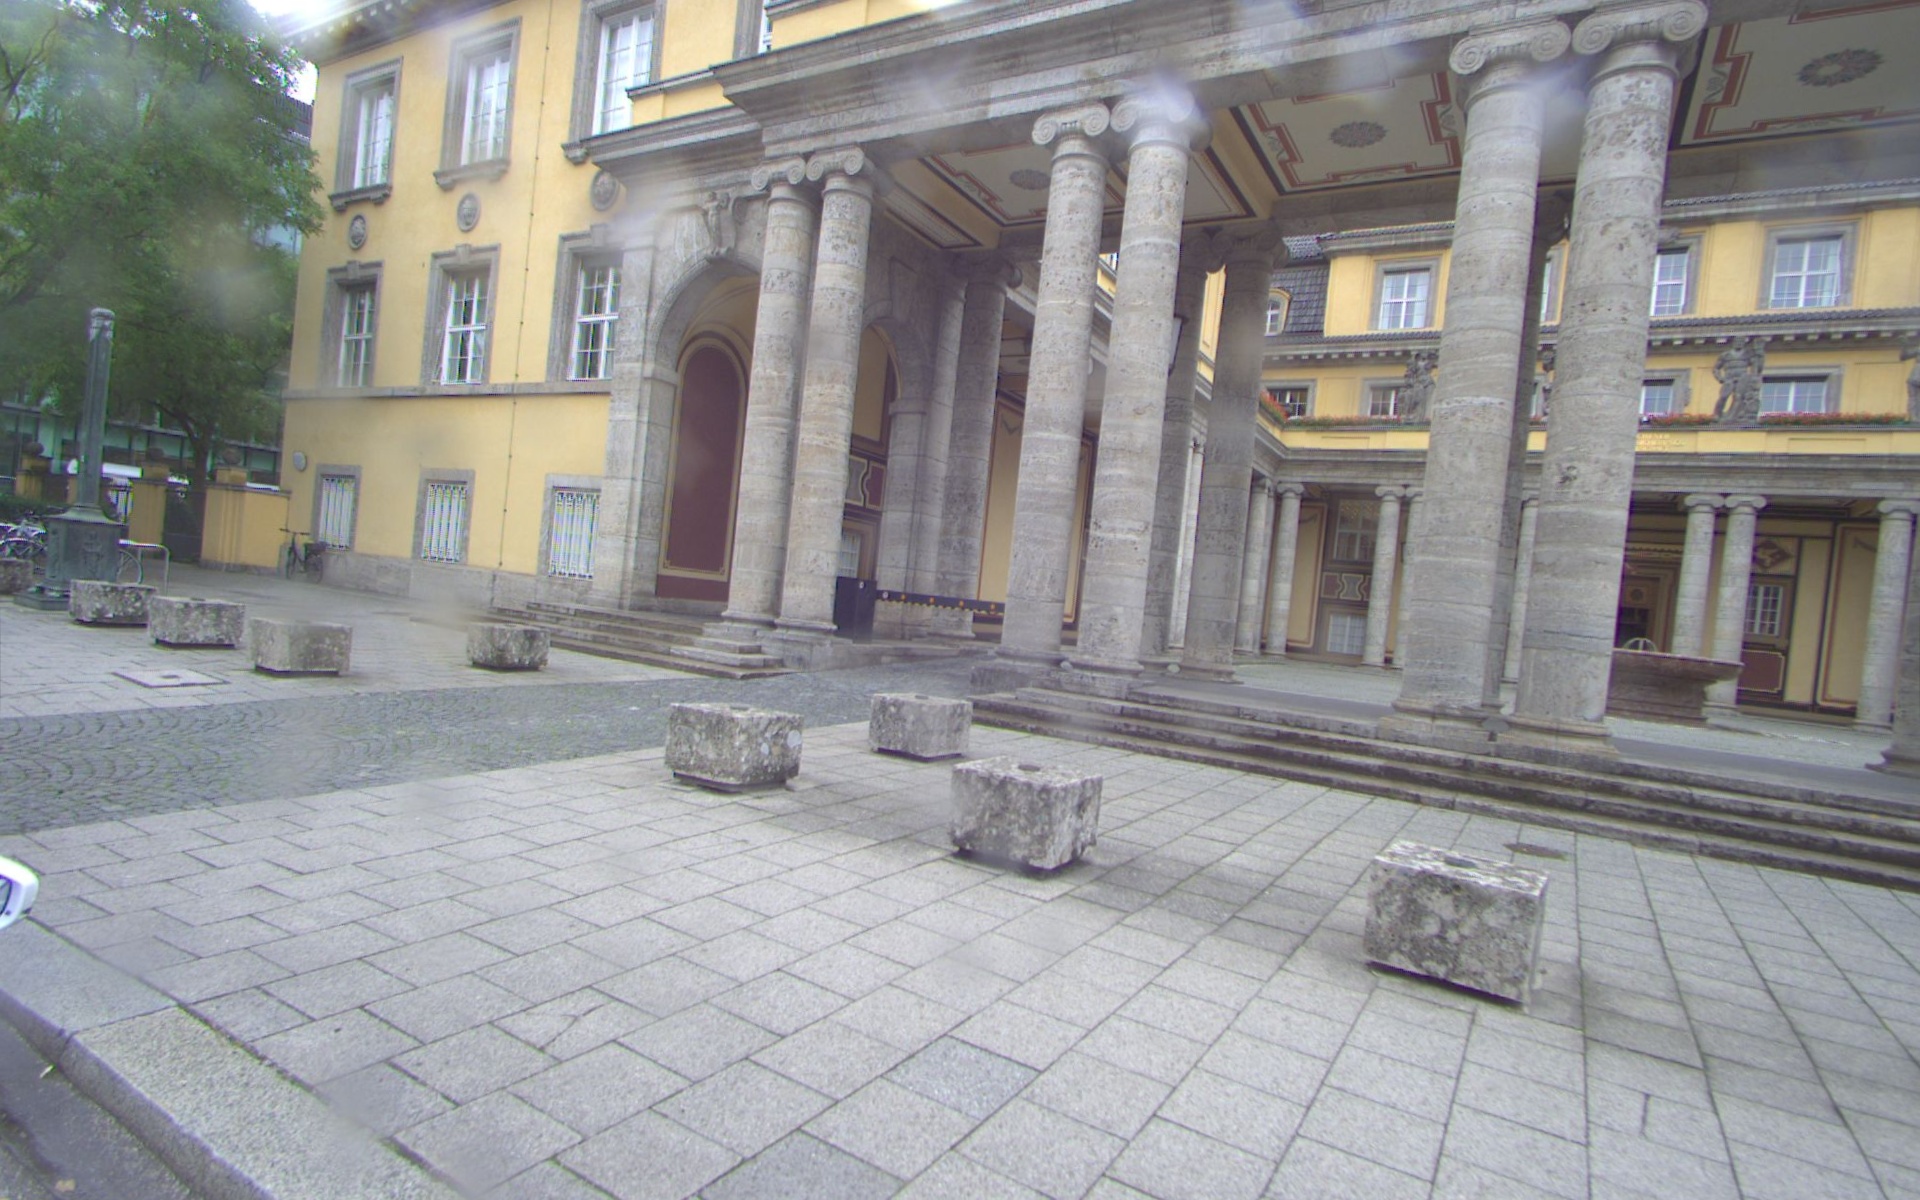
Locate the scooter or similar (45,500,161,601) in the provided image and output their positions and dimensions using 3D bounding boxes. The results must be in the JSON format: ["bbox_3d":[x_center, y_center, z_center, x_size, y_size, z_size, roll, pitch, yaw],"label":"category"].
[{"bbox_3d":[-11.621,-0.662,13.665,0.996,1.238,0.536,5,2,-14],"label":"scooter or similar"}]

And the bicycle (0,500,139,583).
[{"bbox_3d":[-14.104,-0.904,15.684,0.463,1.128,1.931,7,2,33],"label":"bicycle"}]

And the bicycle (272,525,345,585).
[{"bbox_3d":[-14.786,-1.032,22.832,1.870,1.169,0.542,7,2,30],"label":"bicycle"}]

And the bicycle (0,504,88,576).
[{"bbox_3d":[-16.016,-1.041,16.930,0.463,1.128,1.931,7,2,33],"label":"bicycle"}]

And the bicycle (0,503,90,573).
[{"bbox_3d":[-16.536,-1.108,17.566,0.463,1.128,1.932,7,2,33],"label":"bicycle"}]

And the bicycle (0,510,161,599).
[{"bbox_3d":[-12.695,-0.633,14.362,0.463,1.128,1.934,7,2,28],"label":"bicycle"}]
